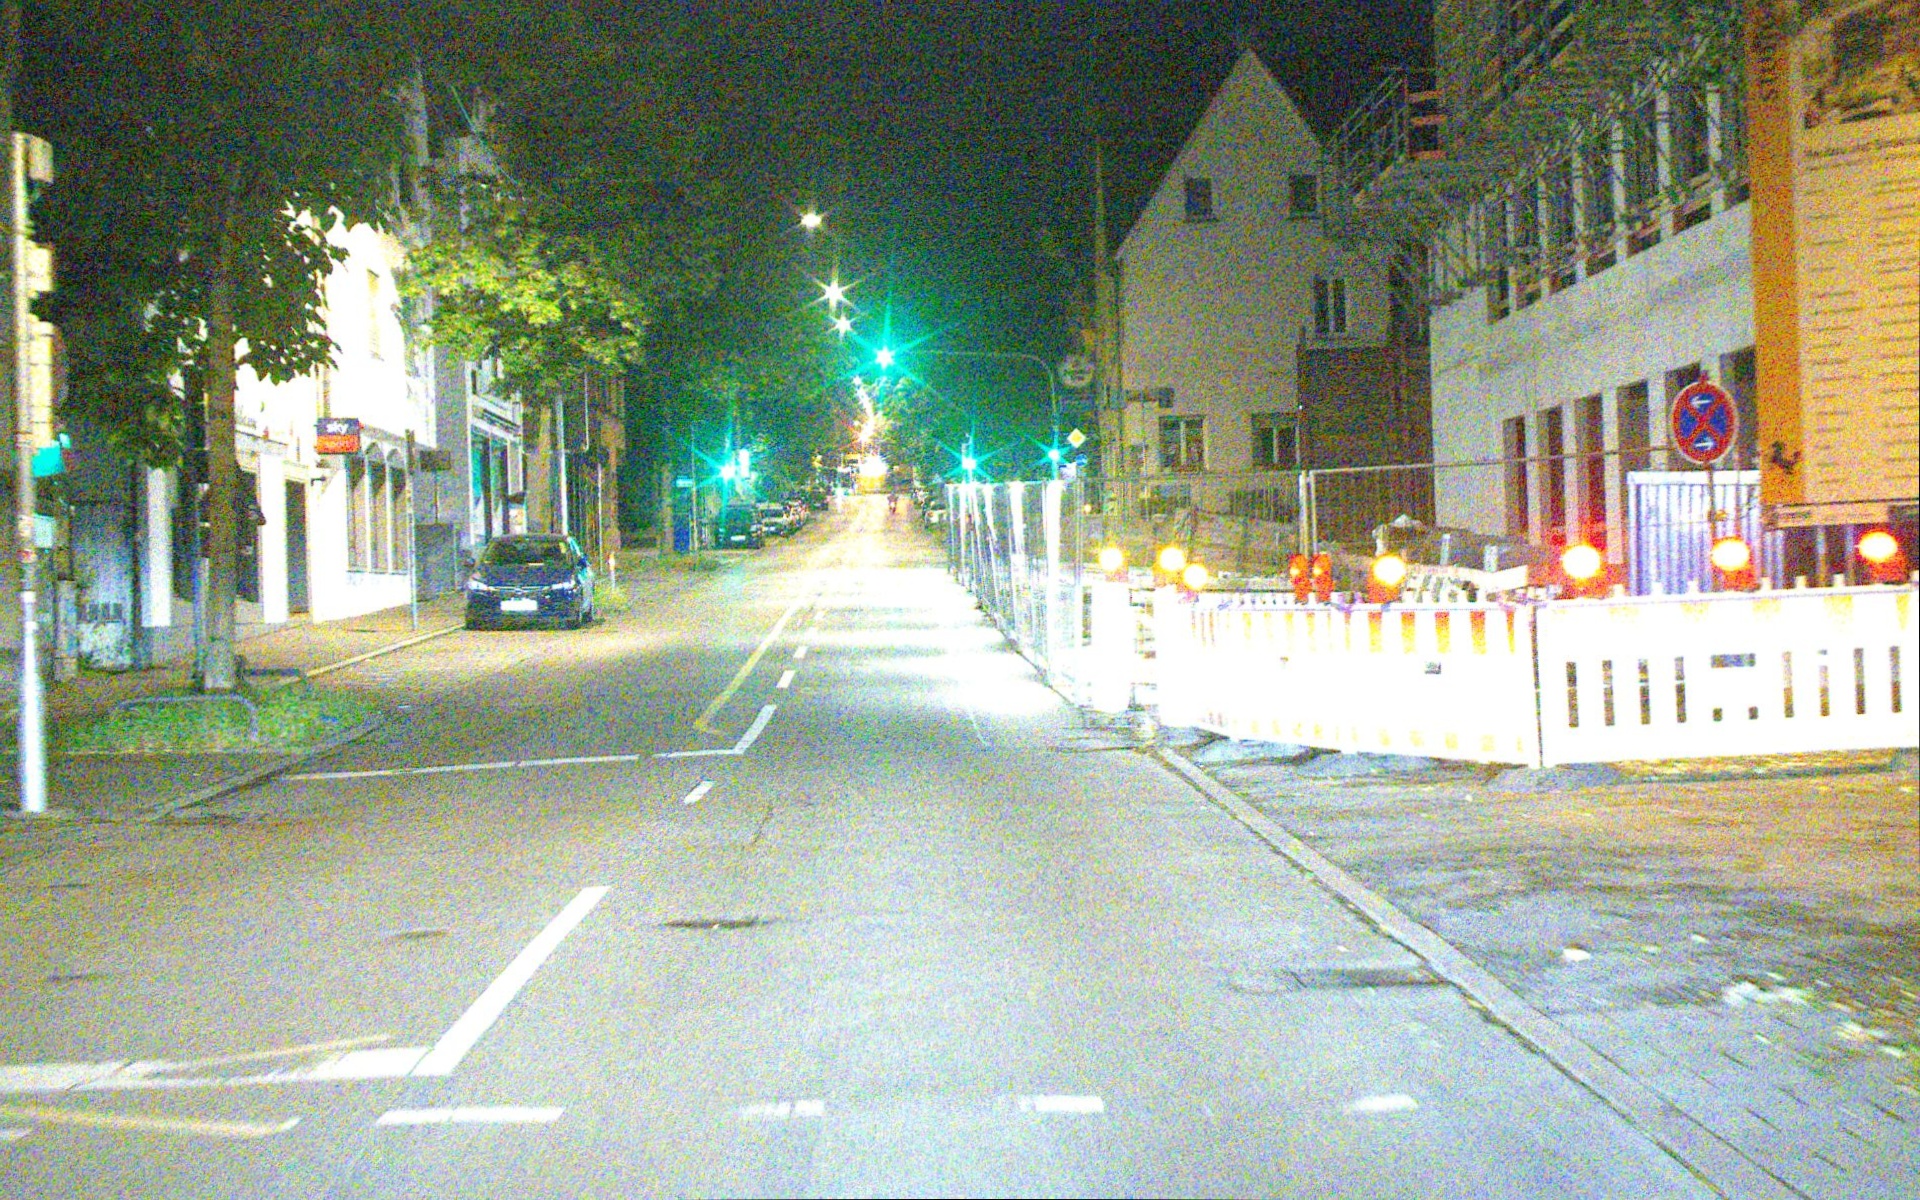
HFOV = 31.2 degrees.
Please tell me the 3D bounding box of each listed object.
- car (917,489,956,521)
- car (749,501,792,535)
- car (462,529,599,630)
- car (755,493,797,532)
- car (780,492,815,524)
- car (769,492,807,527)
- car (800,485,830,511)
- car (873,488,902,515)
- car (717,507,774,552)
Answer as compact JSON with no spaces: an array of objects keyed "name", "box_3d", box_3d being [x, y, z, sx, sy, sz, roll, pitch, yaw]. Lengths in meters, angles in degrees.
[{"name":"car","box_3d":[-1.211,-4.876,176.322,1.873,1.539,4.205,-1,2,-1]},{"name":"car","box_3d":[-8.993,-3.886,163.158,1.873,1.539,4.205,-1,2,-1]},{"name":"car","box_3d":[-6.685,-0.349,53.810,1.671,1.438,4.205,-1,2,-1]},{"name":"car","box_3d":[-9.053,-4.330,169.205,1.873,1.808,4.205,-1,2,-1]},{"name":"car","box_3d":[-9.694,-5.493,205.443,1.873,1.808,4.205,-1,2,0]},{"name":"car","box_3d":[-9.359,-4.950,187.496,1.873,1.808,4.205,-2,2,-1]},{"name":"car","box_3d":[-10.687,-7.535,253.632,2.077,1.808,4.205,-1,2,0]},{"name":"car","box_3d":[-4.987,-6.831,237.432,1.873,1.808,4.205,-1,2,0]},{"name":"car","box_3d":[-7.813,-2.590,125.644,1.873,1.539,4.205,-1,2,-1]}]
